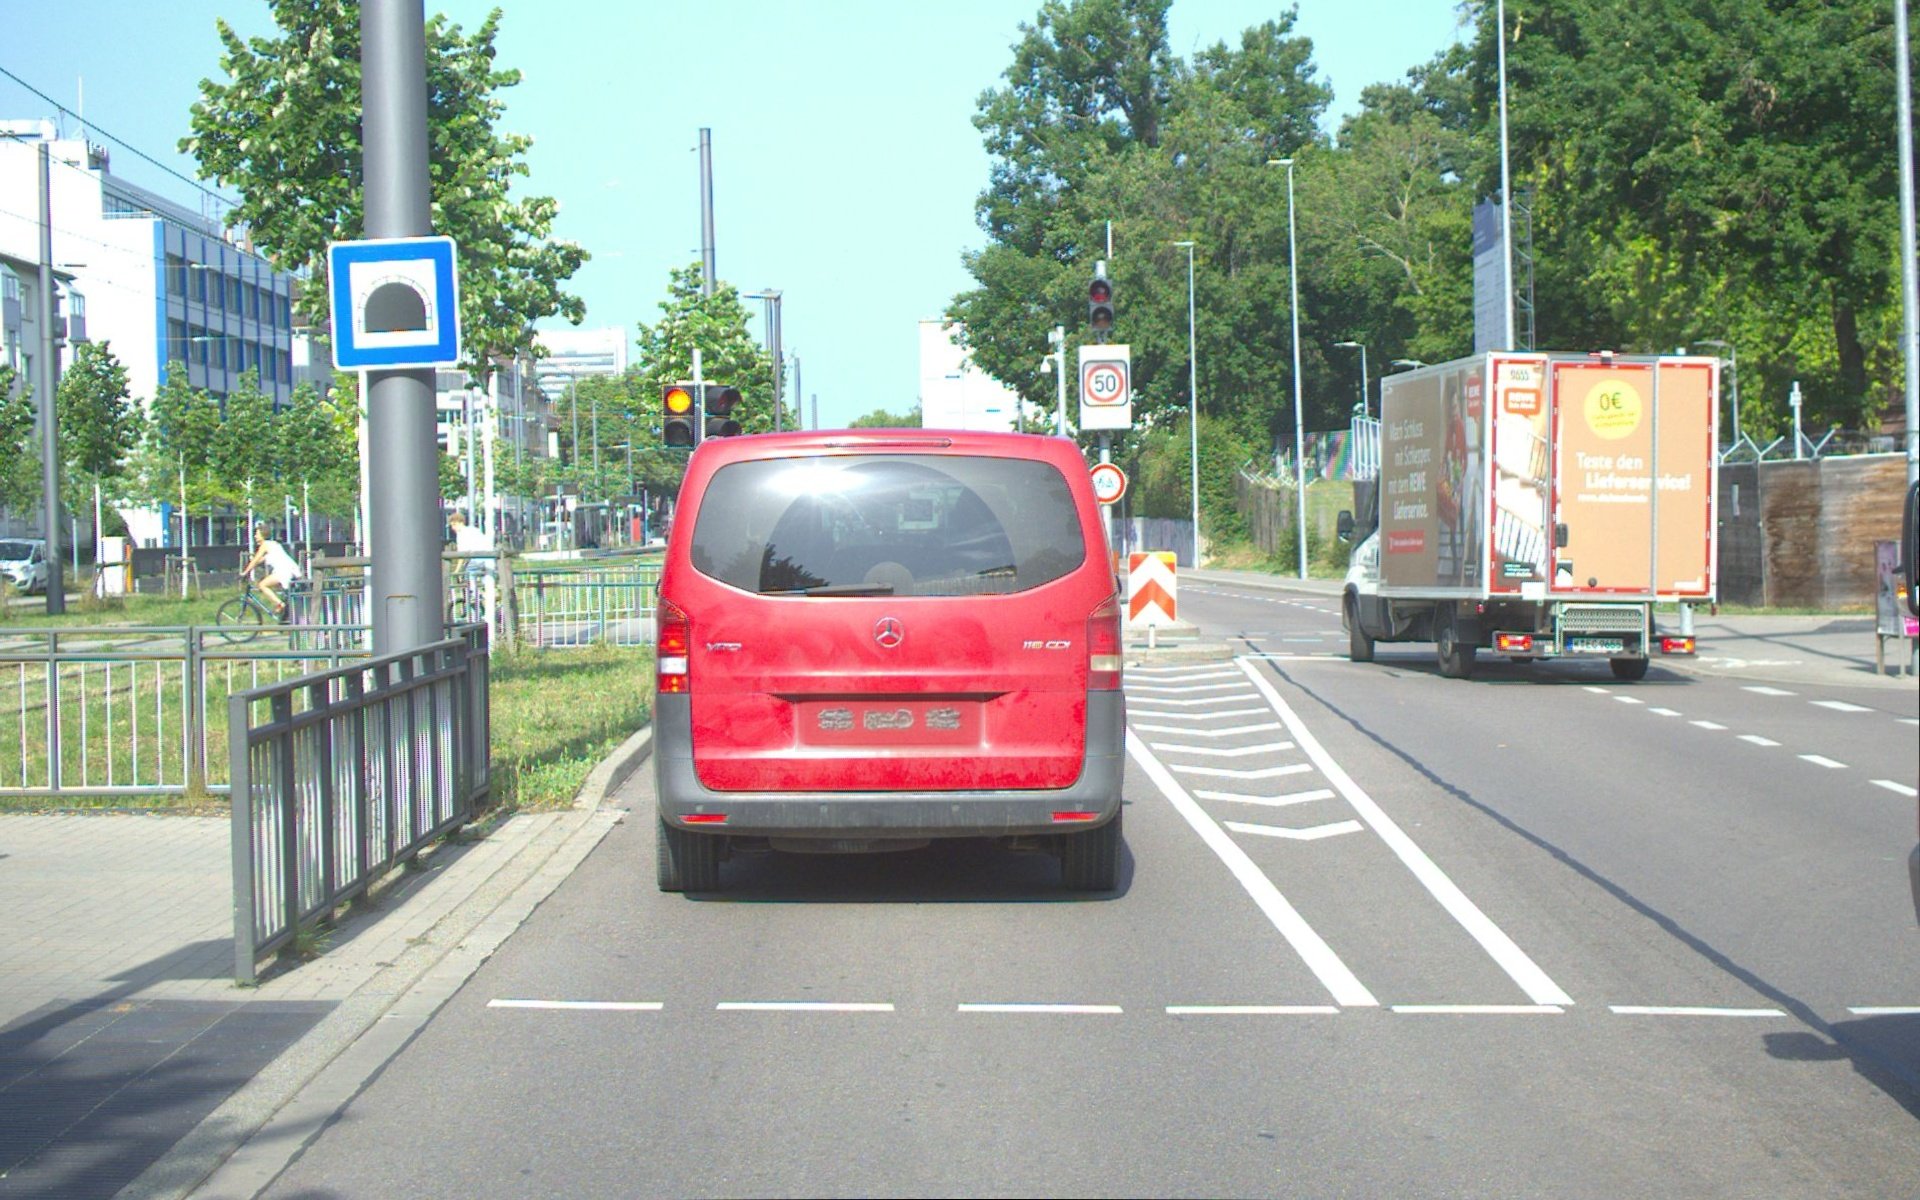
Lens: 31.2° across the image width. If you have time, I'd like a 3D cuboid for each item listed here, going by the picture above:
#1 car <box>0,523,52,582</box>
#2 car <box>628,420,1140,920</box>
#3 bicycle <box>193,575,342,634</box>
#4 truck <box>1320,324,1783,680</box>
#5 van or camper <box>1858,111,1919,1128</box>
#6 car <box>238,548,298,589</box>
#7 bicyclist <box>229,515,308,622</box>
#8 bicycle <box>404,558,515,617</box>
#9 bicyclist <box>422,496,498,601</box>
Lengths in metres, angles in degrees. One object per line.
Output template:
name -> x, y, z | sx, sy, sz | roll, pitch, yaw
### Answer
car -> -34.135, -1.691, 122.725 | 2.249, 2.007, 5.264 | 1, -1, -3
car -> -0.278, 0.220, 14.894 | 1.901, 1.853, 4.000 | 1, 1, 0
bicycle -> -9.898, 0.061, 49.190 | 1.996, 0.791, 0.629 | -1, 1, -2
truck -> 5.562, -0.904, 33.812 | 2.501, 3.050, 7.822 | 1, 1, -5
van or camper -> 3.251, 0.121, 5.829 | 1.986, 2.463, 6.061 | 1, 2, 2
car -> -31.216, -1.429, 155.143 | 1.917, 1.806, 4.000 | 1, 1, -1
bicyclist -> -9.892, -0.453, 49.177 | 0.983, 1.495, 0.620 | -1, 1, -2
bicycle -> -6.927, -0.173, 47.663 | 0.719, 0.795, 1.601 | 1, 1, 27
bicyclist -> -6.927, -0.713, 47.647 | 0.686, 1.435, 0.805 | 1, 1, 28
